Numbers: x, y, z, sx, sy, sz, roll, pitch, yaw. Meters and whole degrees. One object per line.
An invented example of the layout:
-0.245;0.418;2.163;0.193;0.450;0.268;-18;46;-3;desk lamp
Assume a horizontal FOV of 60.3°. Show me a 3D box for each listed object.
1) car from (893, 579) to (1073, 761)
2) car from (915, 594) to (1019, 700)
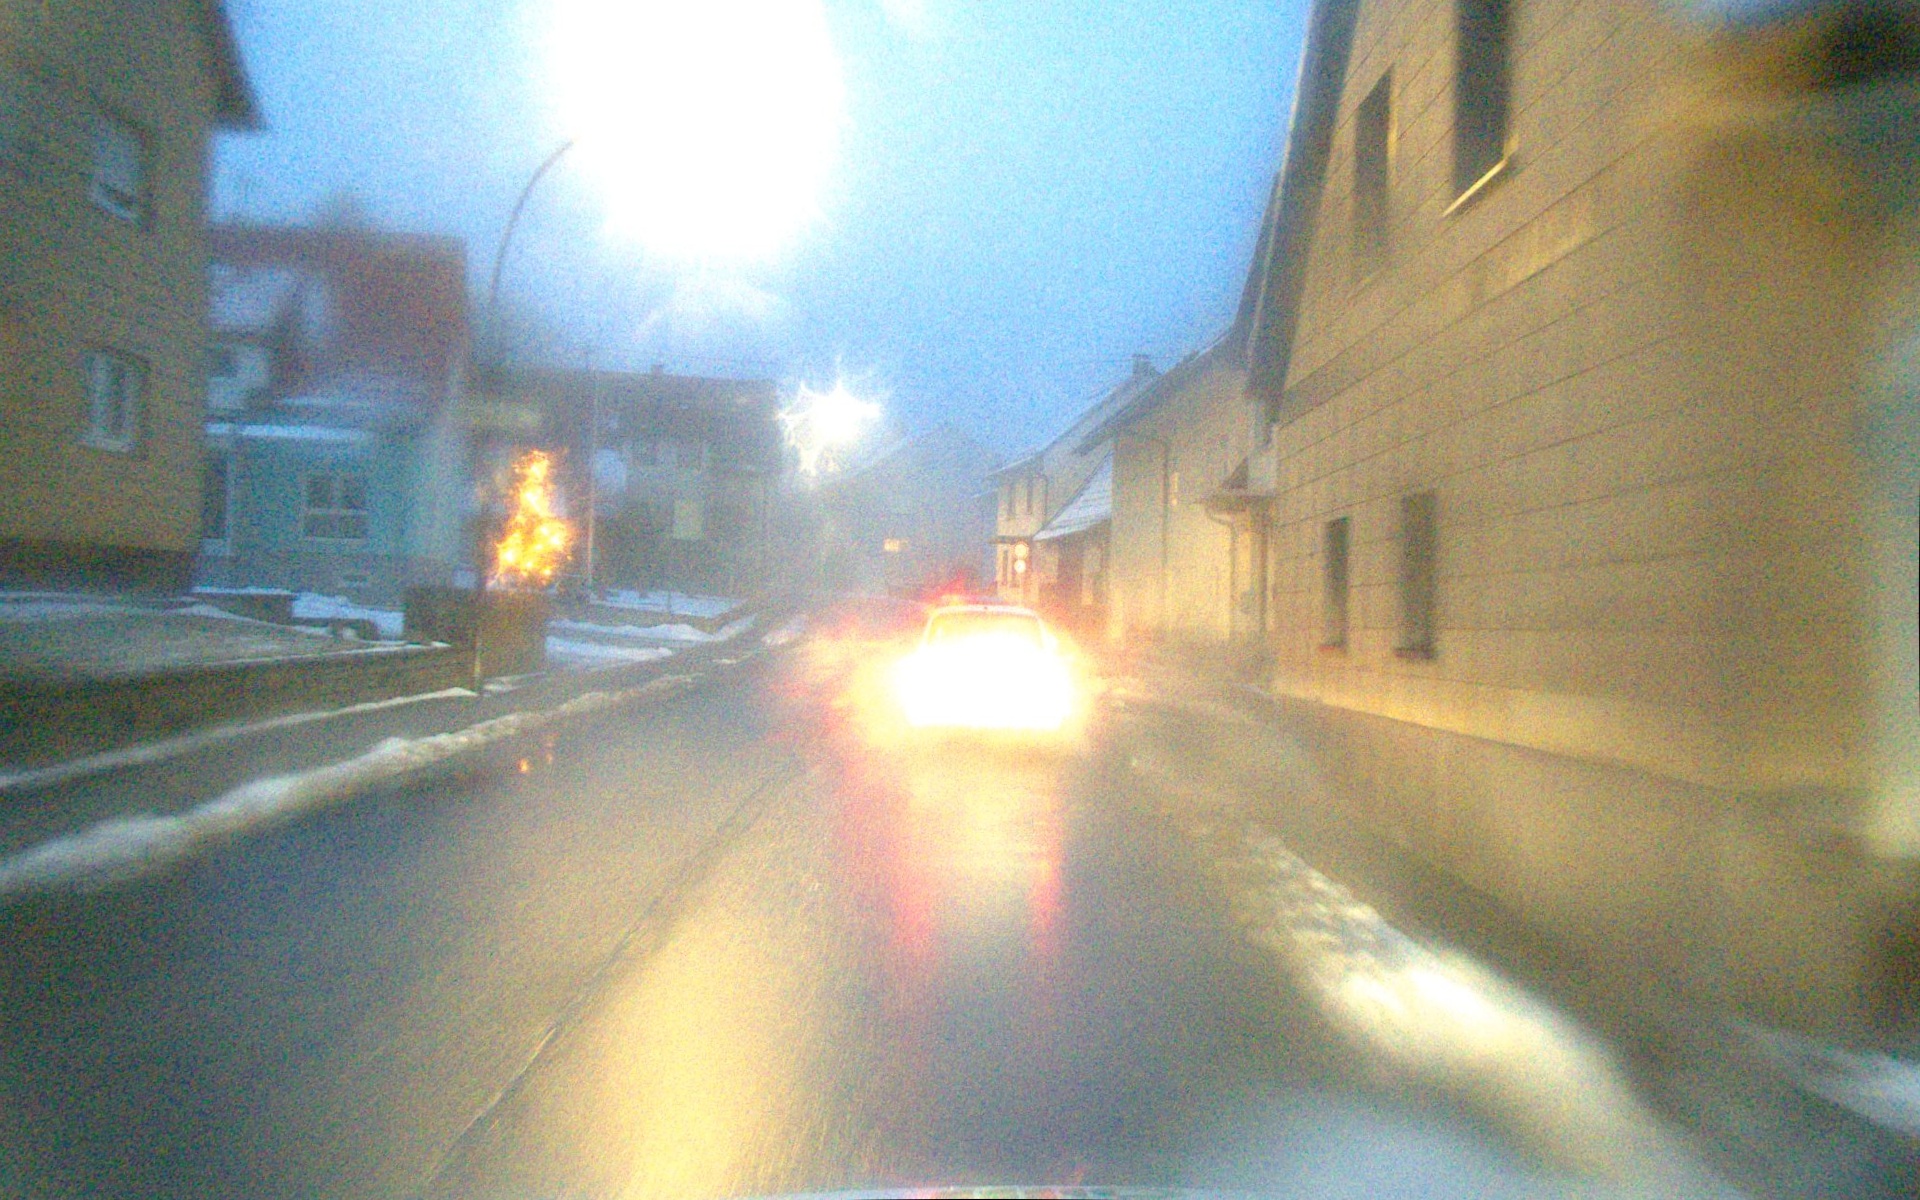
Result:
0.202;0.679;17.375;1.612;1.624;3.699;3;-1;0;car
0.077;0.779;28.522;1.612;1.624;3.698;3;-1;-1;car
